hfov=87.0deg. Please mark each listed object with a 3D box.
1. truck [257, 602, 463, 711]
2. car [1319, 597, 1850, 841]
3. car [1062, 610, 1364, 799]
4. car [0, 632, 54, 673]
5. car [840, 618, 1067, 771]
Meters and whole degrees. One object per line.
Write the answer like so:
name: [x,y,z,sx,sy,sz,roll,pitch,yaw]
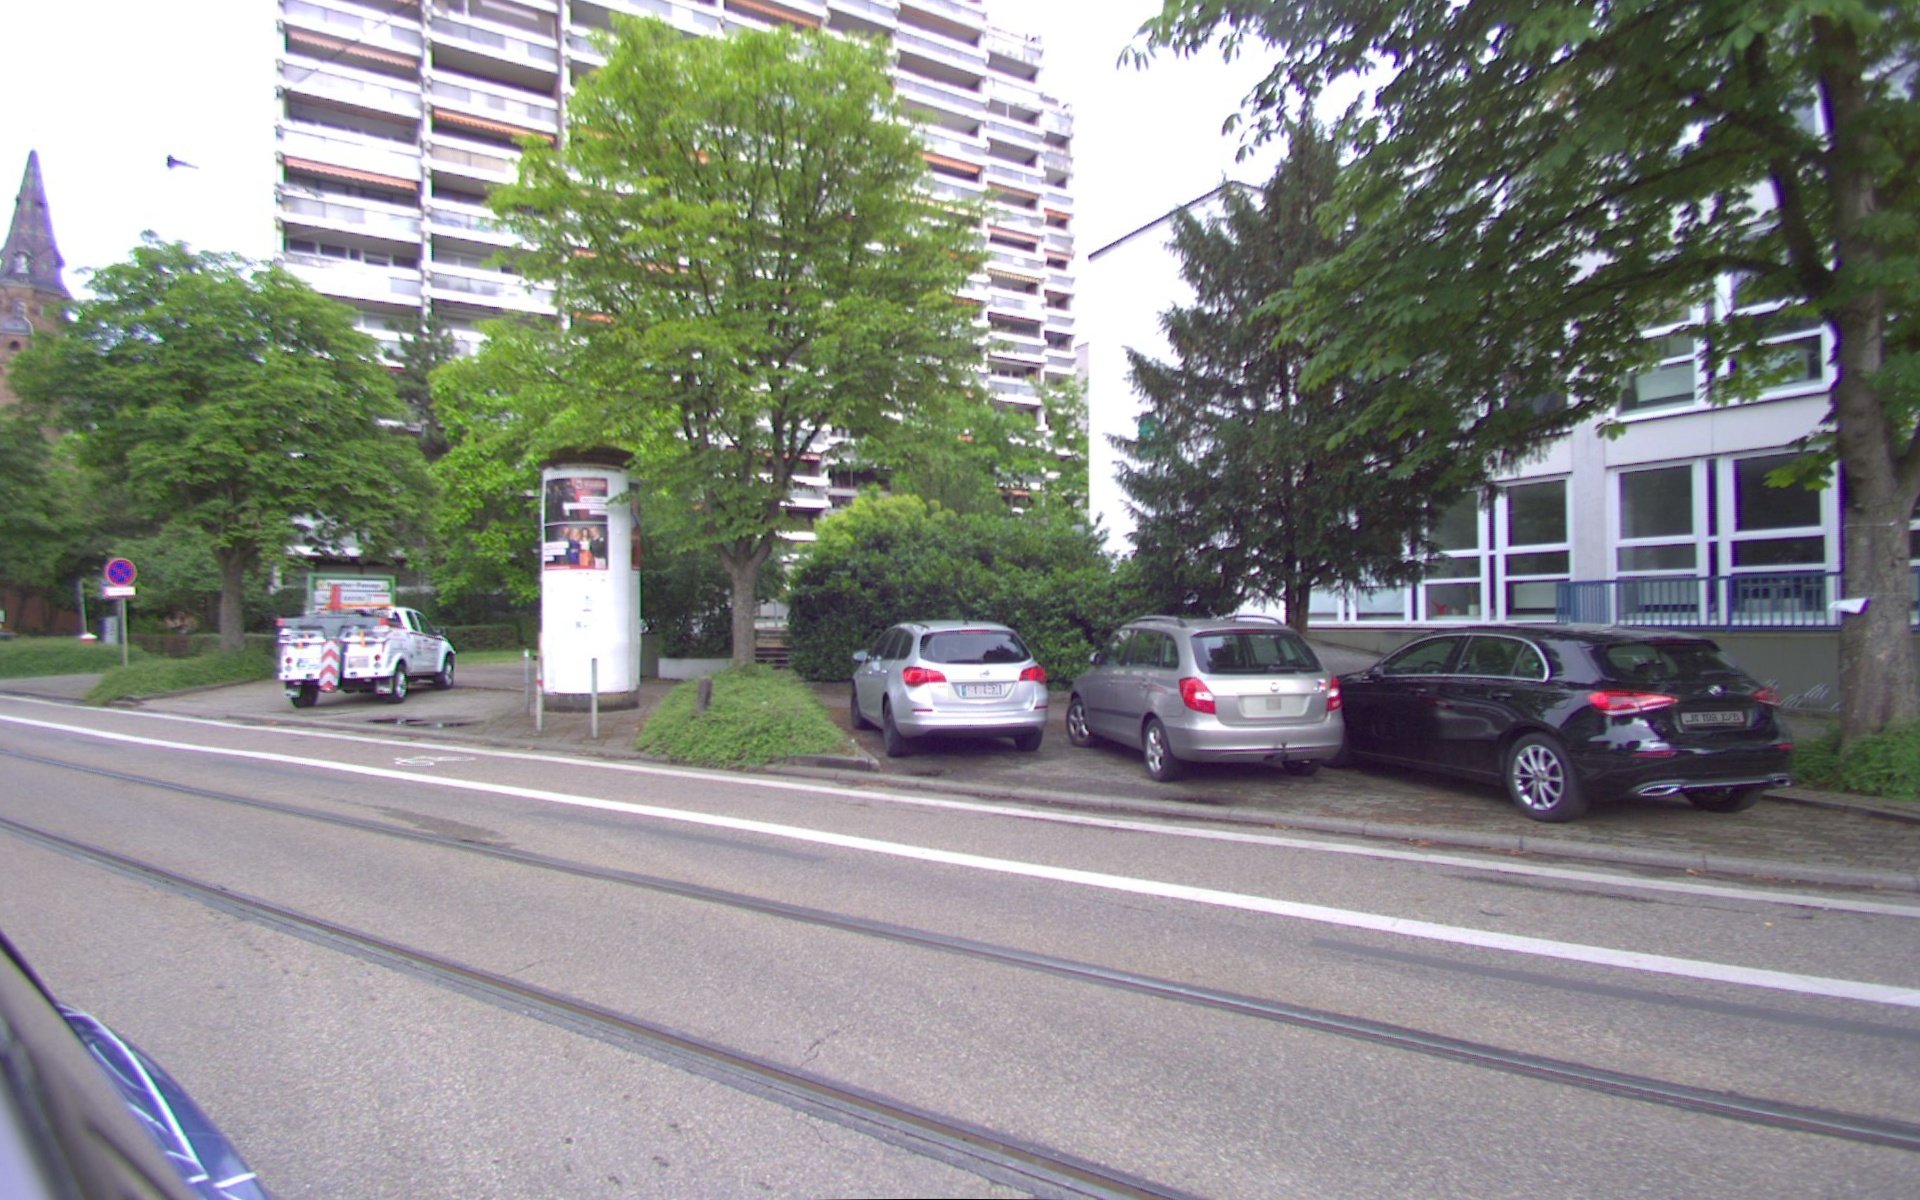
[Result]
truck: [-11.723,1.019,20.237,1.967,1.862,5.076,-1,-1,-11]
car: [4.802,0.780,8.494,1.672,1.535,3.714,-1,0,-11]
car: [2.339,0.889,10.350,1.547,1.535,3.660,-1,0,-11]
car: [-34.887,1.901,36.108,1.622,1.387,3.481,0,0,19]
car: [-0.302,0.984,12.469,1.773,1.476,4.444,0,0,-14]
